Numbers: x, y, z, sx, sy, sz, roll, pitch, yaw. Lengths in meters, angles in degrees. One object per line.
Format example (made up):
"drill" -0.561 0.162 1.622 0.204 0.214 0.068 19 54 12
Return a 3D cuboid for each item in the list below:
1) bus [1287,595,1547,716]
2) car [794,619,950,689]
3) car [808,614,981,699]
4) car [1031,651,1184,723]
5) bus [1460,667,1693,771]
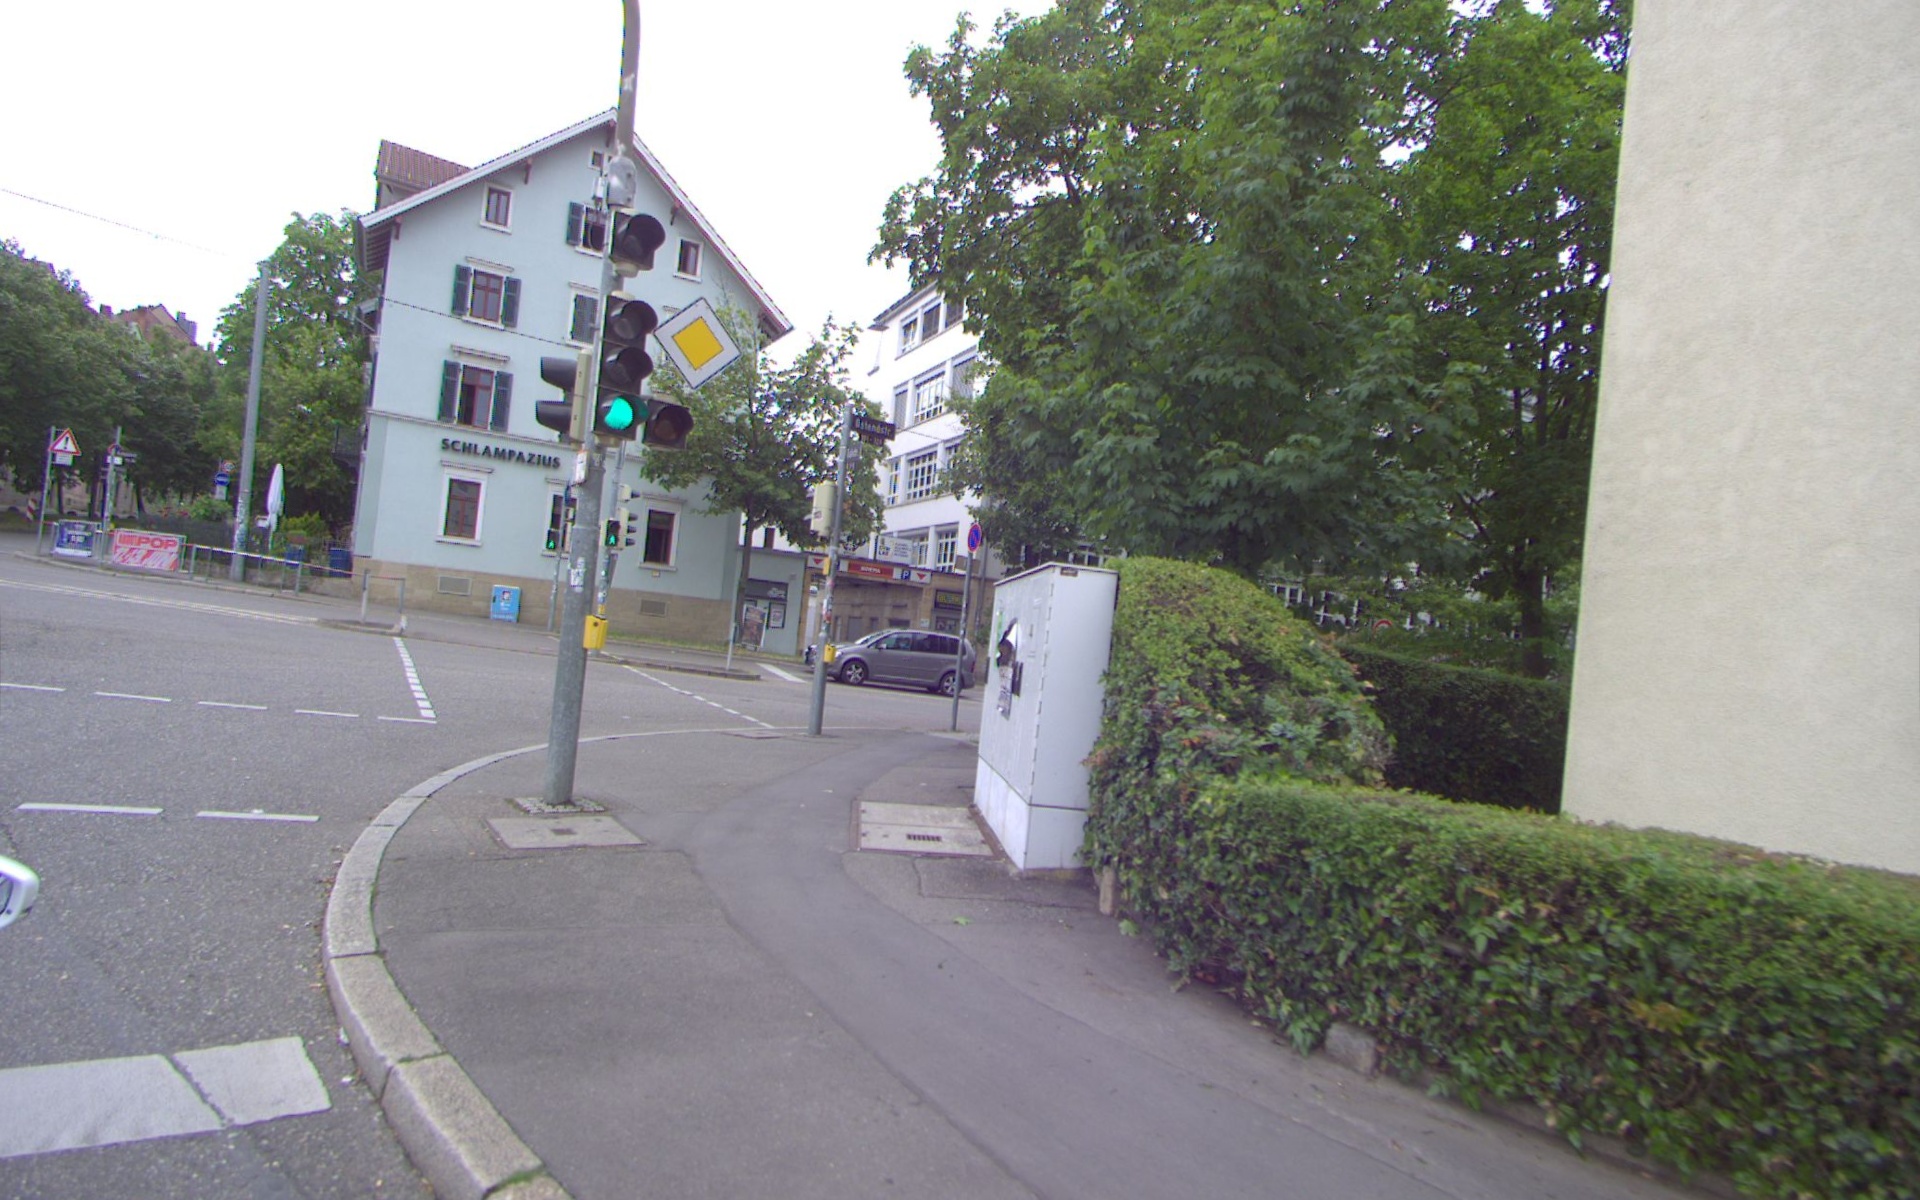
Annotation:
"bus" 17.425 2.141 38.090 10.280 3.144 2.846 9 -2 -26
"car" -2.582 1.587 29.478 4.139 1.440 1.704 9 -2 -19
"car" -1.741 1.491 26.638 4.139 1.656 1.704 9 -3 -19
"car" 4.089 2.416 27.994 3.738 1.438 1.659 8 -2 -19
"bus" 26.130 5.067 42.438 10.802 3.084 2.862 9 -2 -26
